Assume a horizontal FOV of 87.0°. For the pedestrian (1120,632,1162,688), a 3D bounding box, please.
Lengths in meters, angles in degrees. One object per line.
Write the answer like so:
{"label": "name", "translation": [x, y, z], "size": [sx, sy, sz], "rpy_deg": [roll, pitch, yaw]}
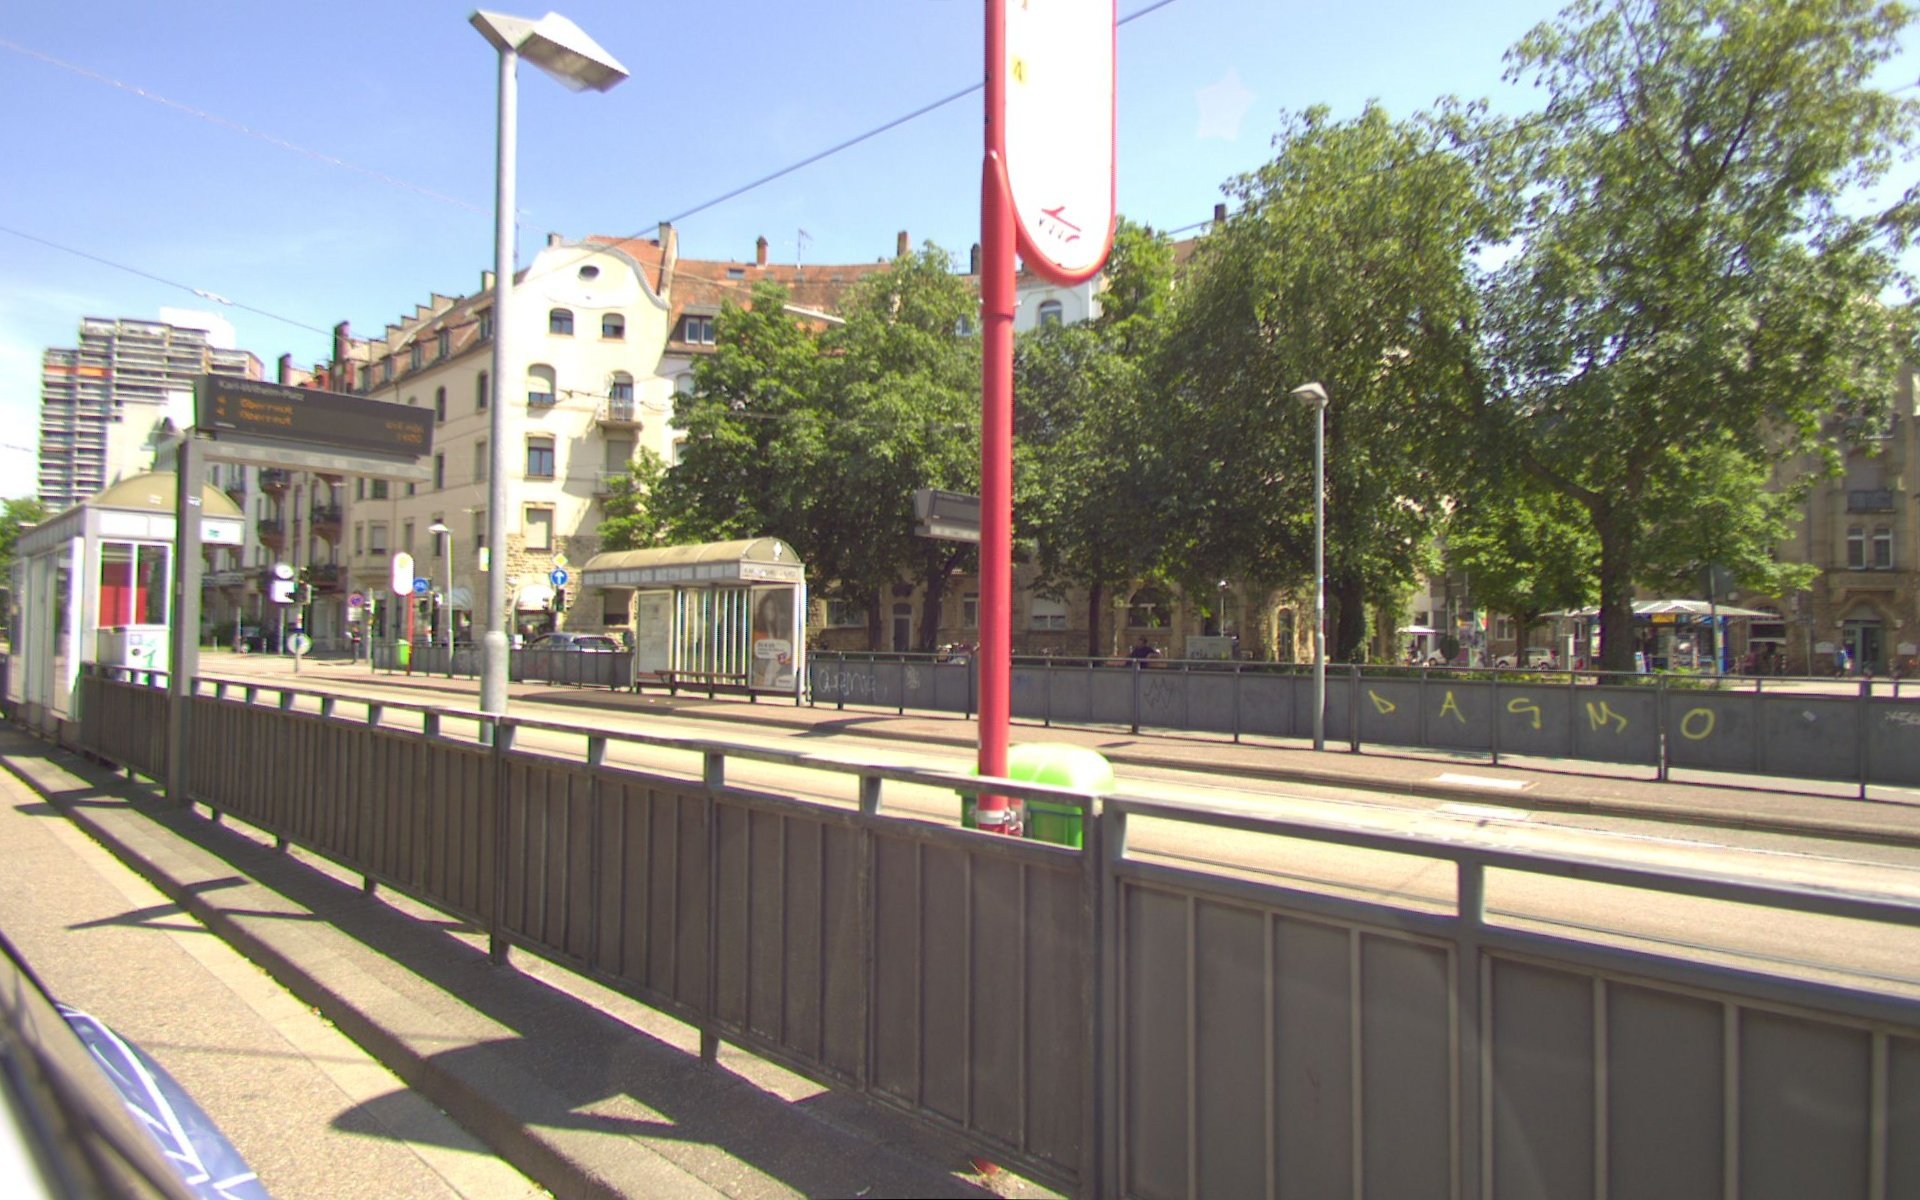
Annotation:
{"label": "pedestrian", "translation": [4.357, 1.433, 24.362], "size": [0.811, 1.327, 0.653], "rpy_deg": [3, -3, -43]}

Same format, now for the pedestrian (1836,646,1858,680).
{"label": "pedestrian", "translation": [41.387, 2.911, 47.208], "size": [0.493, 1.569, 0.551], "rpy_deg": [0, -2, -4]}

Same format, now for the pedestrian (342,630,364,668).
{"label": "pedestrian", "translation": [-27.543, 2.218, 45.935], "size": [0.796, 1.733, 0.765], "rpy_deg": [2, -3, -34]}

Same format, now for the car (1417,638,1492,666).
{"label": "car", "translation": [31.746, 3.331, 65.120], "size": [1.780, 1.711, 4.012], "rpy_deg": [2, -3, -30]}

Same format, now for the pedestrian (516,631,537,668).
{"label": "pedestrian", "translation": [-16.989, 1.940, 39.655], "size": [0.519, 1.452, 0.531], "rpy_deg": [-1, -3, 32]}

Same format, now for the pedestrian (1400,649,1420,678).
{"label": "pedestrian", "translation": [21.566, 3.034, 48.485], "size": [0.691, 1.360, 0.605], "rpy_deg": [3, -4, -38]}

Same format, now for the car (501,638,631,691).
{"label": "car", "translation": [-10.723, 1.703, 27.458], "size": [3.846, 1.320, 1.675], "rpy_deg": [-2, -3, 41]}

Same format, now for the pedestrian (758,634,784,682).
{"label": "pedestrian", "translation": [-5.809, 1.781, 31.111], "size": [0.519, 1.452, 0.531], "rpy_deg": [-1, -3, 31]}

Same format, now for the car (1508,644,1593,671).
{"label": "car", "translation": [34.559, 3.340, 59.342], "size": [1.665, 1.512, 4.012], "rpy_deg": [2, -3, -30]}
